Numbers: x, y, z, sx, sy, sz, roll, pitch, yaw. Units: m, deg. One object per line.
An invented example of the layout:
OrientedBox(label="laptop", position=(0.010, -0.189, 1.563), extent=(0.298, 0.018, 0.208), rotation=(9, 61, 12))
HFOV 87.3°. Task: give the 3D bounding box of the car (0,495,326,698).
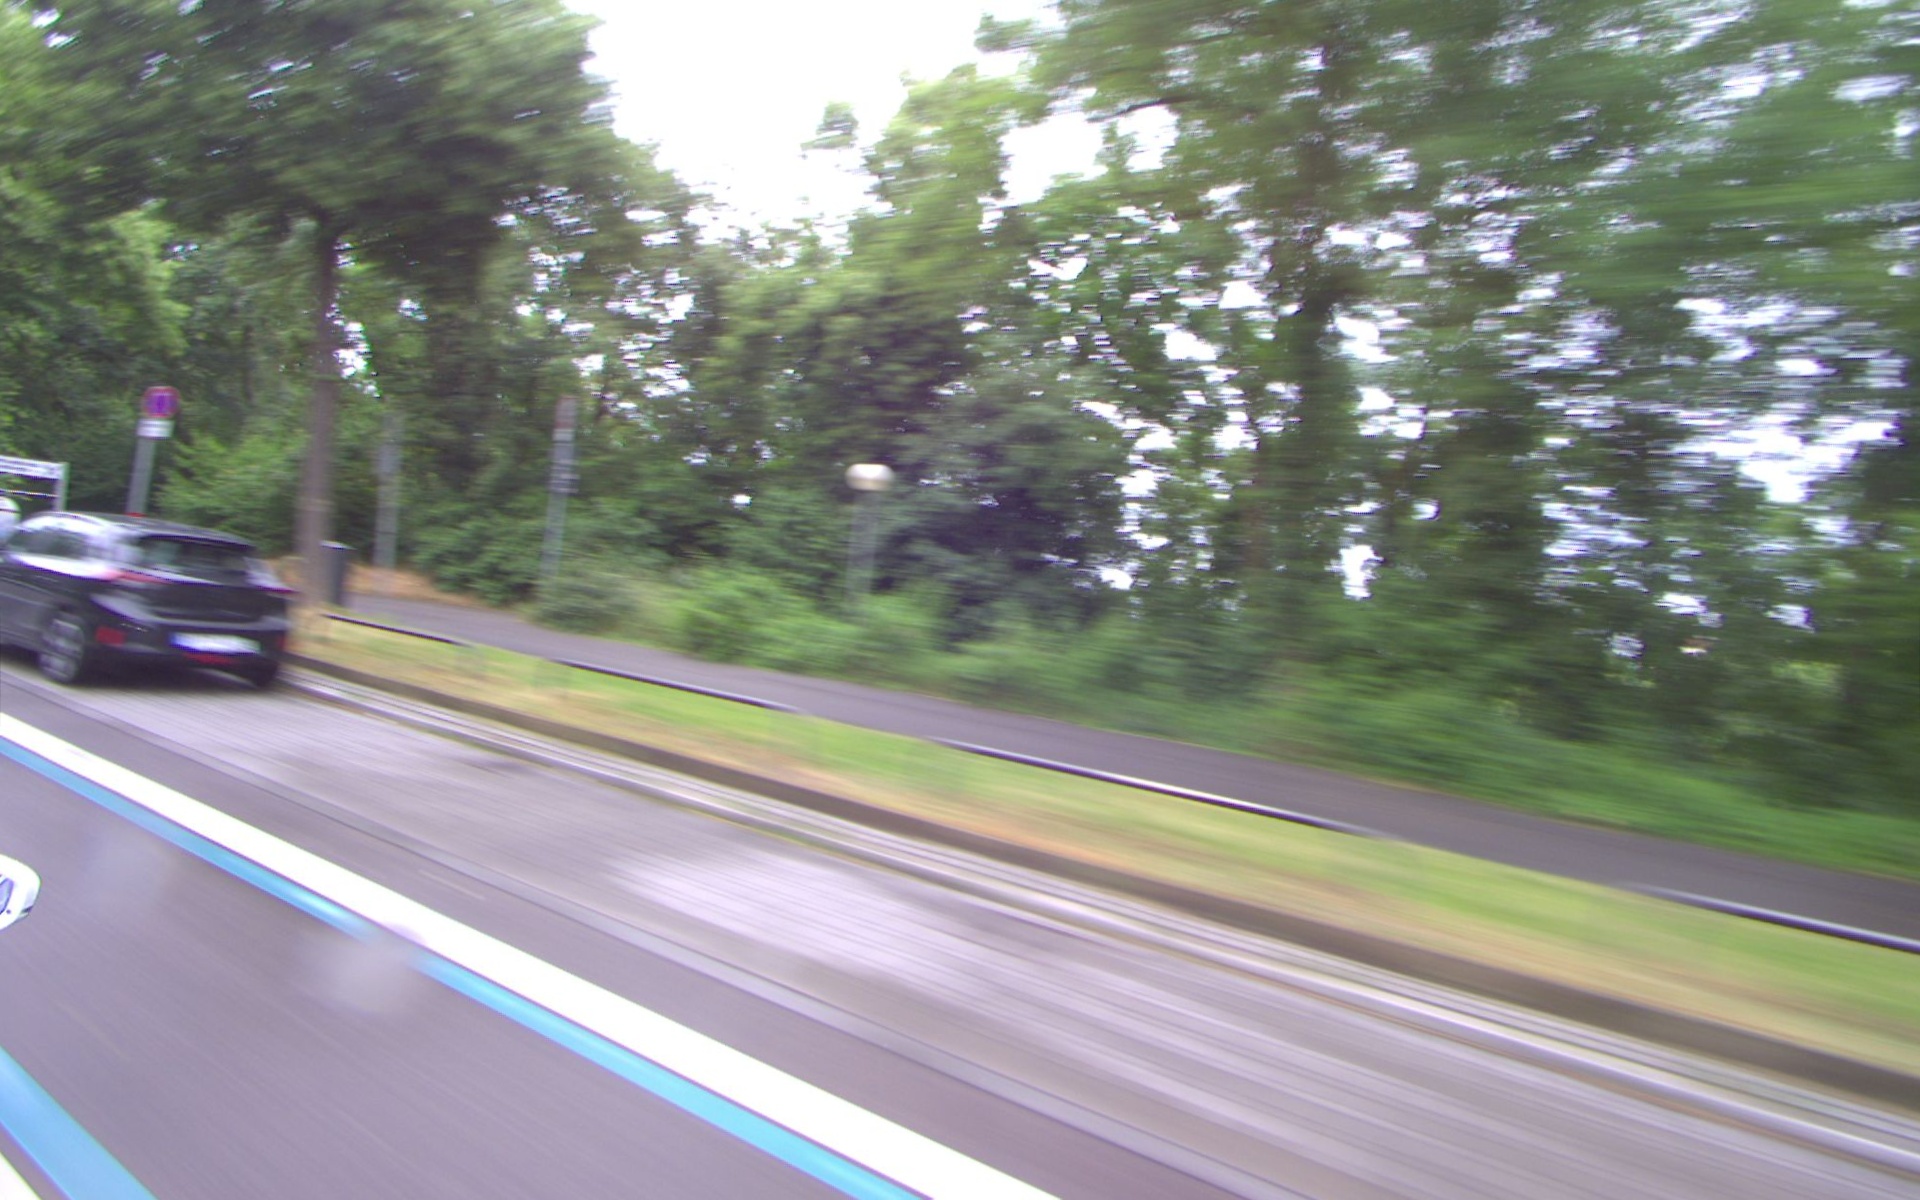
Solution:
OrientedBox(label="car", position=(-8.110, -0.113, 9.629), extent=(3.930, 1.495, 1.698), rotation=(7, 0, 30))
